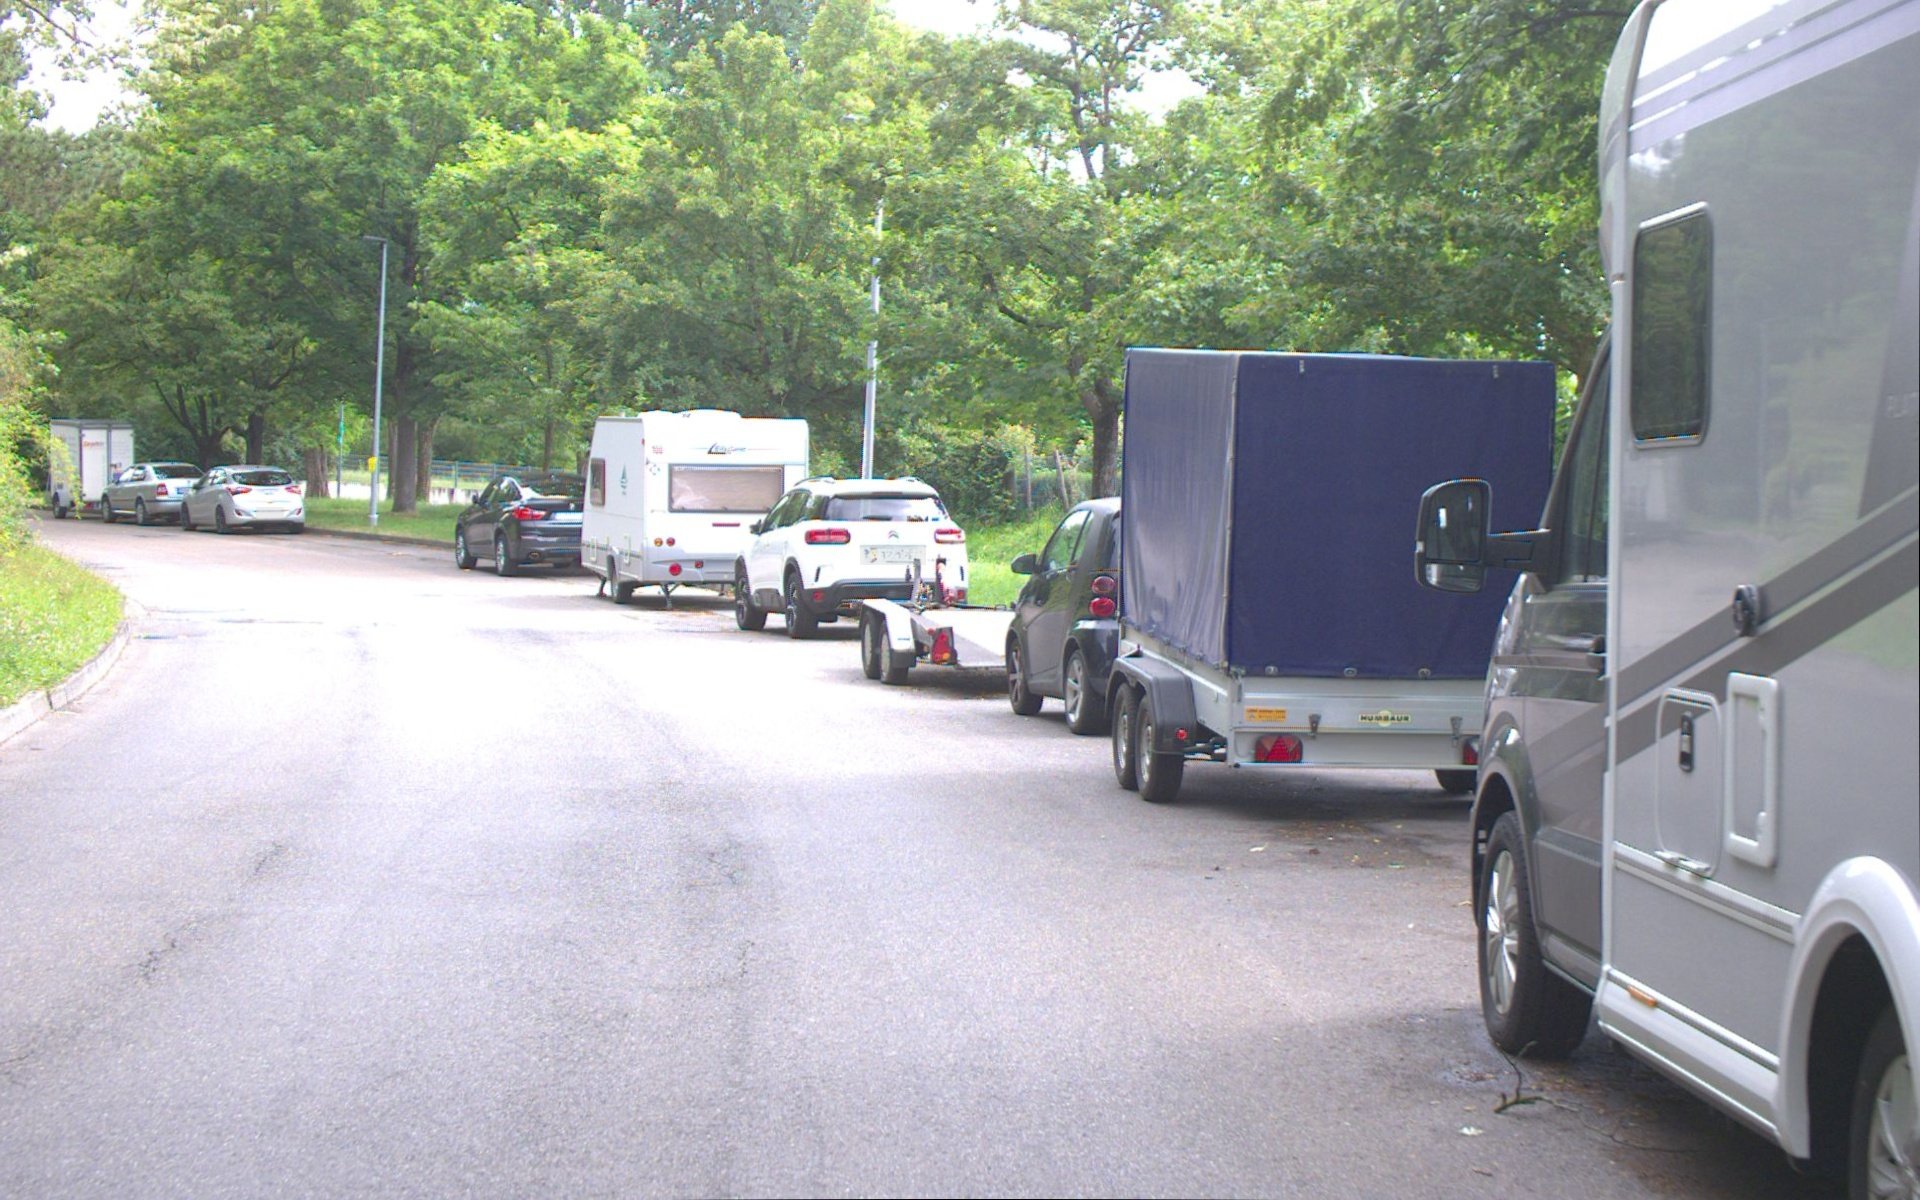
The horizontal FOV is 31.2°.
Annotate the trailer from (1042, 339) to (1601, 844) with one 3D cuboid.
[{"bbox_3d":[1.759,-0.205,18.481,2.106,2.353,4.703,-1,4,-5],"label":"trailer"}]

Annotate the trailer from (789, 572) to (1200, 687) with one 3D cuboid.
[{"bbox_3d":[0.117,0.203,29.184,2.103,0.649,6.404,1,2,-12],"label":"trailer"}]

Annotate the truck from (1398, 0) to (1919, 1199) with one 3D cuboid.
[{"bbox_3d":[2.724,-0.018,7.538,2.303,2.923,7.035,0,2,-3],"label":"truck"}]

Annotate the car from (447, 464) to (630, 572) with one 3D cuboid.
[{"bbox_3d":[-6.867,-1.359,55.642,1.848,1.637,4.532,0,3,-22],"label":"car"}]

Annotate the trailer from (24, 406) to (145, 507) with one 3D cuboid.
[{"bbox_3d":[-21.683,-3.563,85.027,1.761,2.418,3.887,-1,3,-33],"label":"trailer"}]

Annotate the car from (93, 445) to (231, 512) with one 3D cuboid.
[{"bbox_3d":[-18.724,-2.866,80.513,1.741,1.520,4.636,-1,3,-32],"label":"car"}]

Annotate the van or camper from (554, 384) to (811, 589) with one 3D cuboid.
[{"bbox_3d":[-3.833,-1.530,46.318,2.160,2.527,6.034,1,2,-17],"label":"van or camper"}]

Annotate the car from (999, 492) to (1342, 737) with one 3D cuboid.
[{"bbox_3d":[1.361,0.082,23.507,1.729,1.517,3.406,1,0,-7],"label":"car"}]

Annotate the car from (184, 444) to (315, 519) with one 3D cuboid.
[{"bbox_3d":[-15.443,-2.549,74.621,1.902,1.471,4.060,1,0,-25],"label":"car"}]

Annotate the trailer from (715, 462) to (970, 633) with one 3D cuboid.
[{"bbox_3d":[-1.348,-0.595,37.361,1.772,1.724,4.652,-1,2,-15],"label":"trailer"}]
